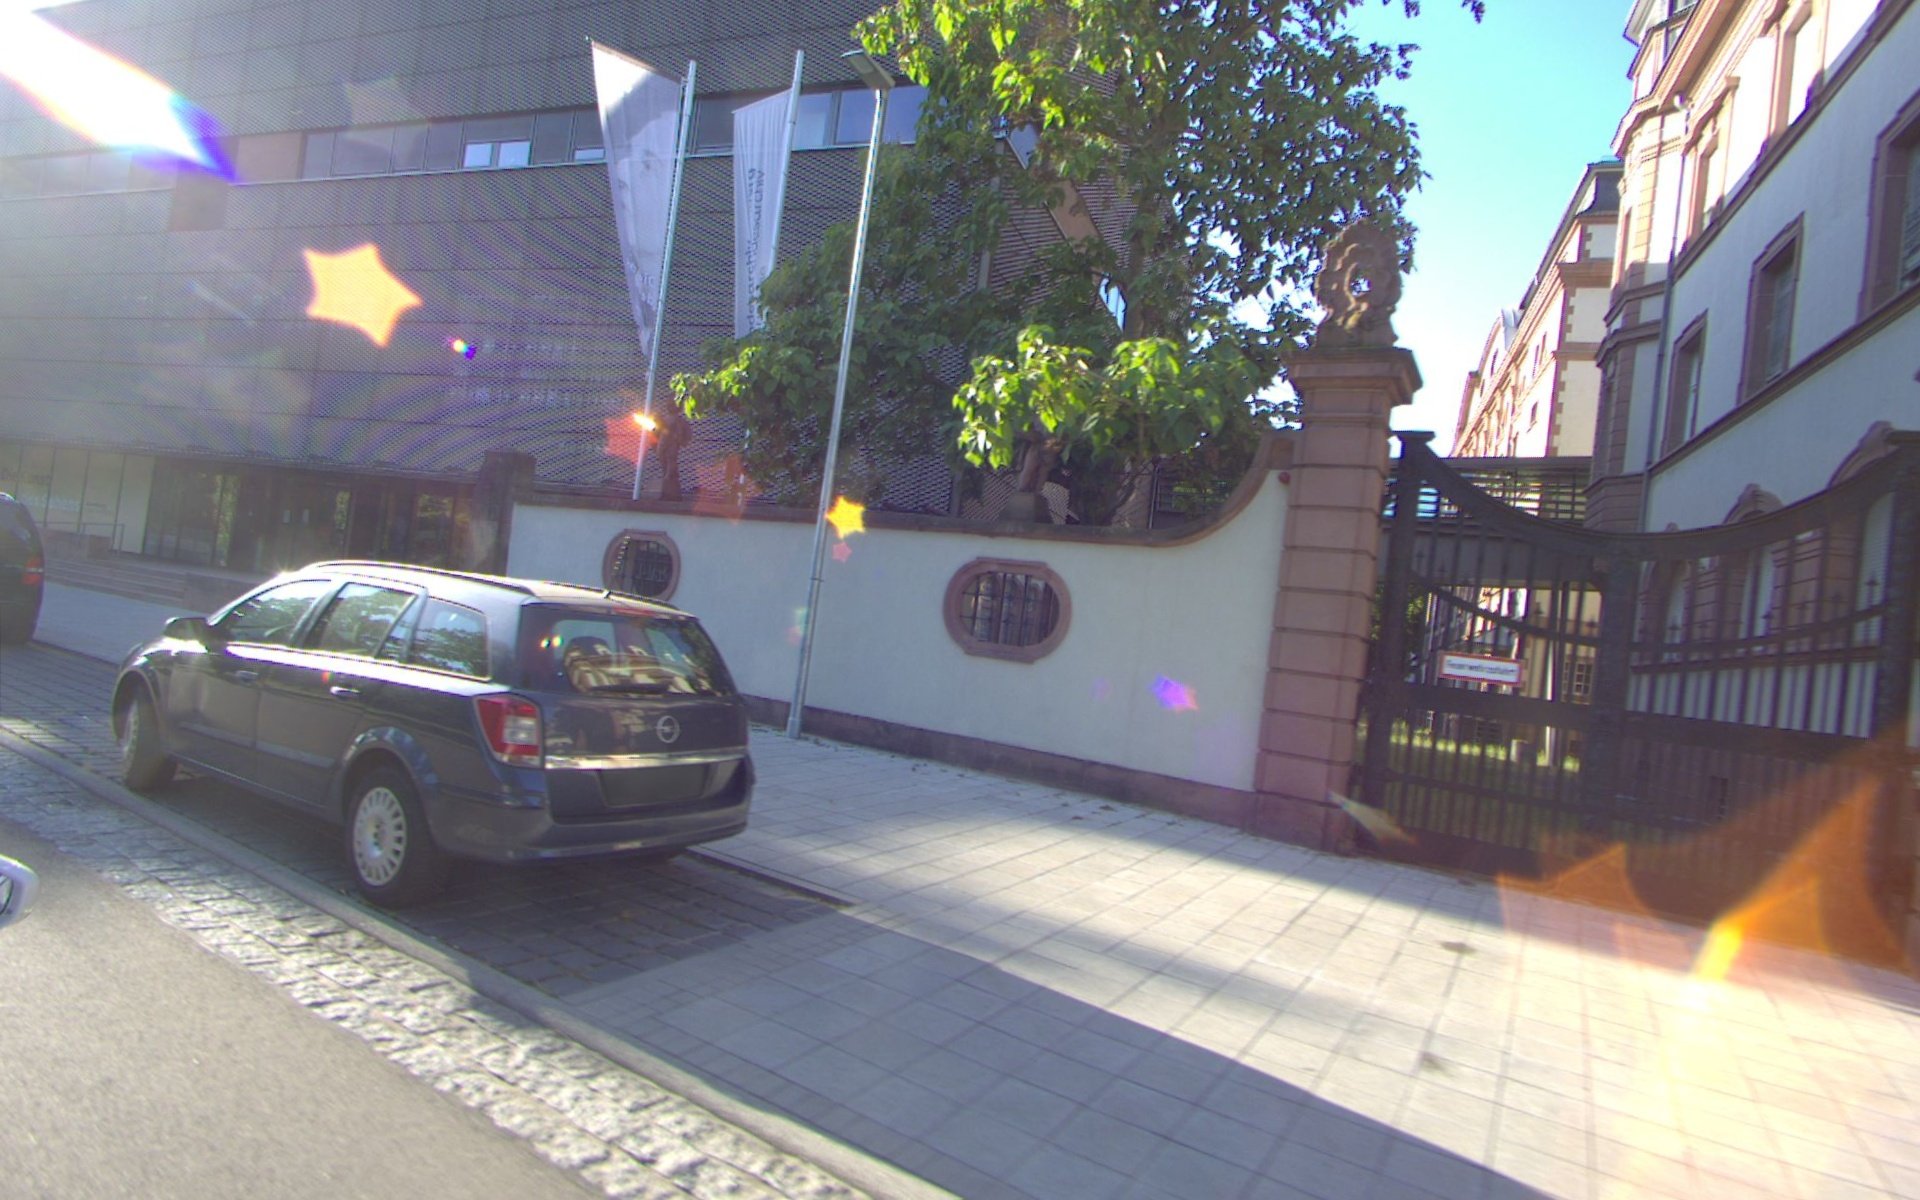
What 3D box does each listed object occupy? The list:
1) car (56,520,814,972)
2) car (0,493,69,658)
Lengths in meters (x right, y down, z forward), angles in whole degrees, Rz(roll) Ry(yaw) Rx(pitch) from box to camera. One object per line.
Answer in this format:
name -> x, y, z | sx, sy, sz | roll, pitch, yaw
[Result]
car -> -3.175, 0.534, 5.791 | 4.402, 1.485, 1.749 | 7, 1, 31
car -> -11.884, -0.490, 11.108 | 4.043, 1.690, 1.727 | 8, 1, 29
